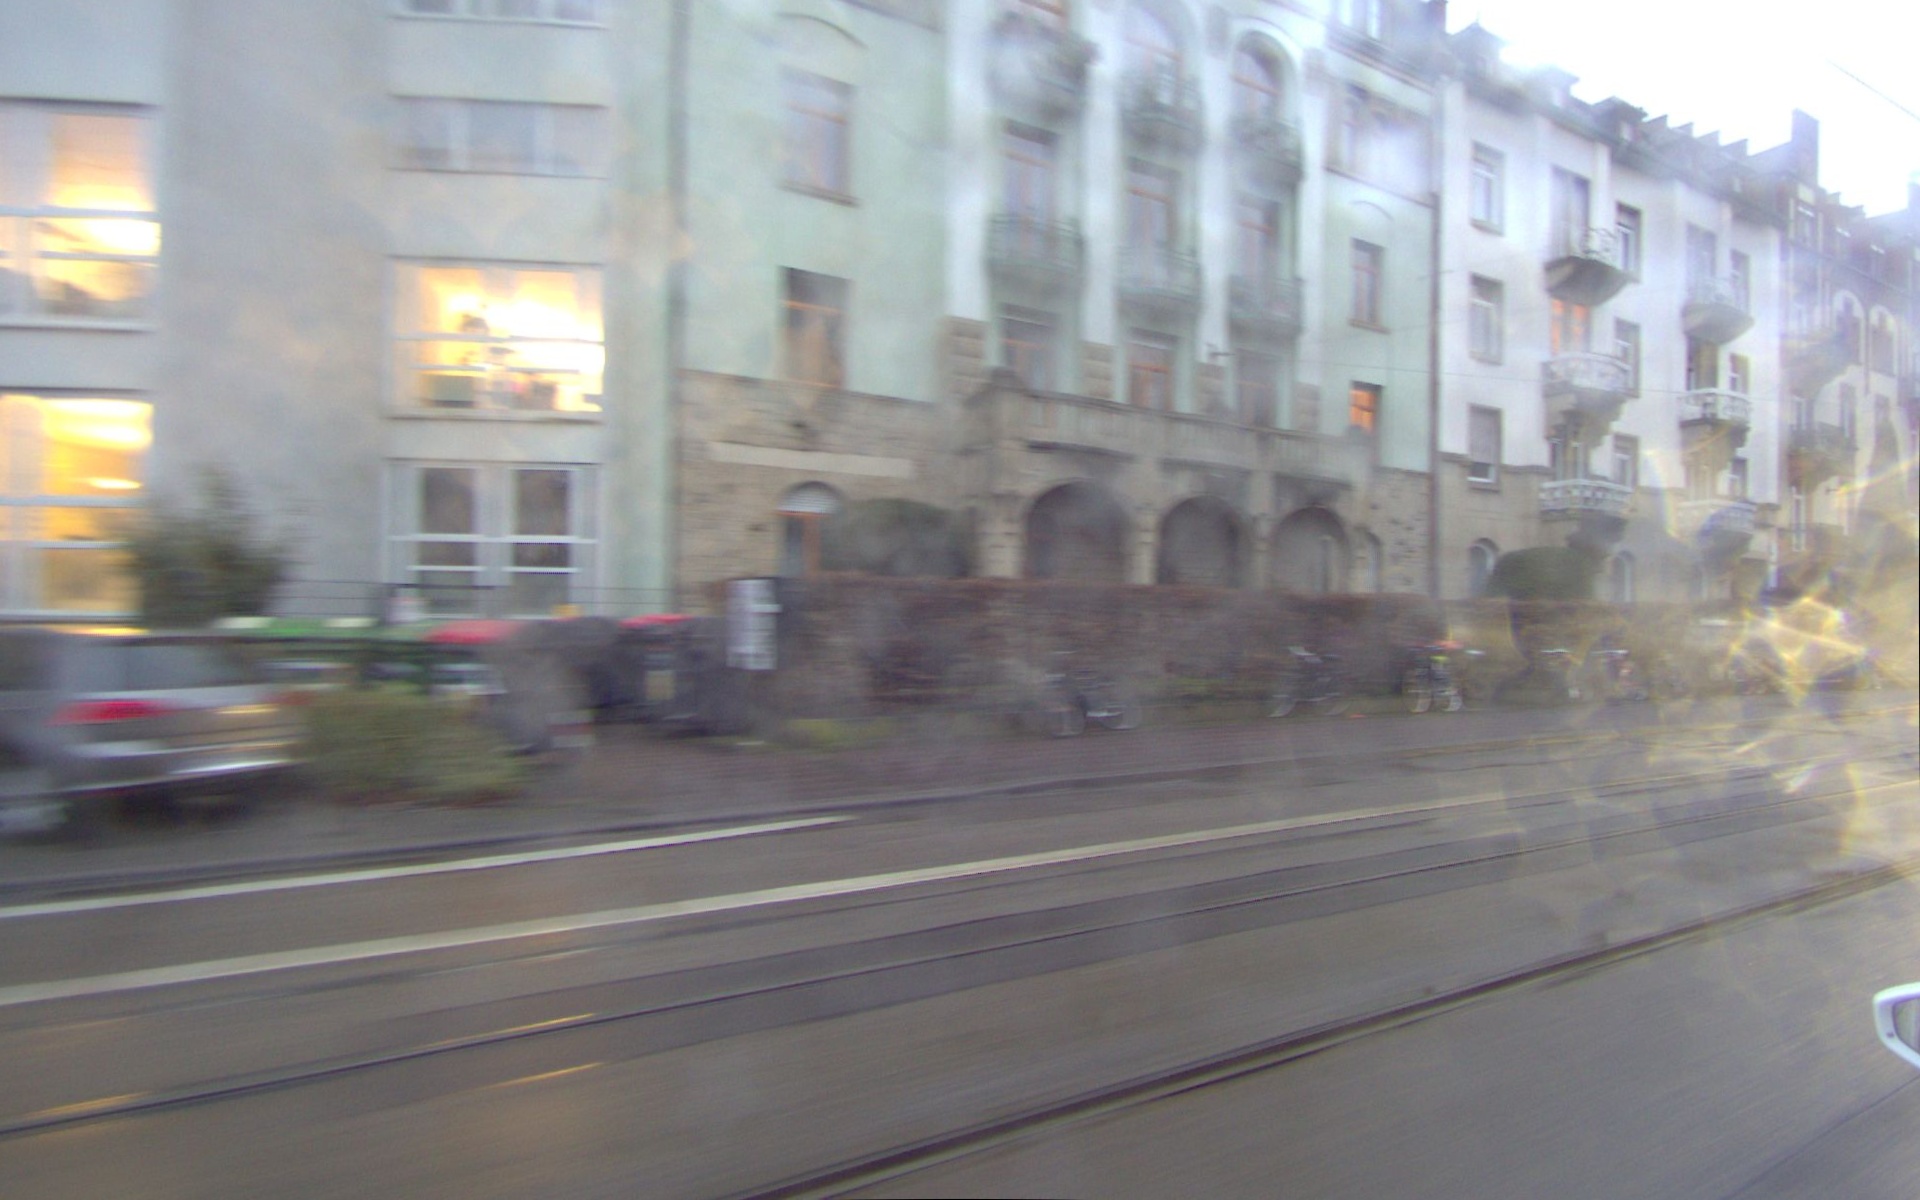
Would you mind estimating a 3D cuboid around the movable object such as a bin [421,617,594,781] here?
[{"bbox_3d":[-4.431,0.907,9.849,1.247,1.469,1.107,-1,-1,38],"label":"movable object such as a bin"}]

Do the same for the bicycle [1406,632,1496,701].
[{"bbox_3d":[9.644,1.291,19.778,0.483,1.279,1.585,6,-4,-25],"label":"bicycle"}]

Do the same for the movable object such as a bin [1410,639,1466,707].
[{"bbox_3d":[8.497,1.281,17.840,0.738,1.152,0.687,1,-2,-44],"label":"movable object such as a bin"}]

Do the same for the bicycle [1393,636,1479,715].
[{"bbox_3d":[7.927,1.221,16.703,1.583,1.228,0.686,1,-2,-40],"label":"bicycle"}]

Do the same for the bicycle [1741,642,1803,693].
[{"bbox_3d":[18.407,1.506,22.763,1.909,1.114,0.484,1,-2,-32],"label":"bicycle"}]

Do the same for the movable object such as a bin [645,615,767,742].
[{"bbox_3d":[-3.184,0.934,12.506,1.306,1.469,1.260,0,-1,-23],"label":"movable object such as a bin"}]

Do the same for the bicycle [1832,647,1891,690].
[{"bbox_3d":[22.706,1.699,25.300,1.785,1.031,0.622,1,-2,-32],"label":"bicycle"}]

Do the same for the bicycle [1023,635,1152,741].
[{"bbox_3d":[1.622,1.071,12.677,1.581,1.228,0.687,1,-1,-36],"label":"bicycle"}]

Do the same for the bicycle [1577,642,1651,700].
[{"bbox_3d":[12.804,1.390,19.652,1.581,1.044,0.688,6,-5,-35],"label":"bicycle"}]

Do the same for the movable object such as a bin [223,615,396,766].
[{"bbox_3d":[-6.785,0.898,10.590,1.306,1.469,1.260,0,-1,-23],"label":"movable object such as a bin"}]

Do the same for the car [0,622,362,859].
[{"bbox_3d":[-6.862,0.900,7.629,3.920,1.447,1.849,-1,-1,18],"label":"car"}]

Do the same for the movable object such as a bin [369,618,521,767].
[{"bbox_3d":[-5.490,0.937,10.715,1.076,1.469,1.107,-1,-1,39],"label":"movable object such as a bin"}]

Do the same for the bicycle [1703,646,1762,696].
[{"bbox_3d":[16.797,1.528,21.831,1.583,1.044,0.686,3,-3,-40],"label":"bicycle"}]

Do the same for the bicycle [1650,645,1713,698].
[{"bbox_3d":[15.037,1.481,20.925,1.583,1.044,0.686,4,-3,-40],"label":"bicycle"}]

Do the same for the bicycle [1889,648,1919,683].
[{"bbox_3d":[31.437,2.127,32.600,0.610,1.095,1.792,1,-2,-36],"label":"bicycle"}]

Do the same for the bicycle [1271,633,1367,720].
[{"bbox_3d":[5.396,1.109,15.067,1.583,1.228,0.624,1,-2,-40],"label":"bicycle"}]

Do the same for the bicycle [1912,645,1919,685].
[{"bbox_3d":[27.332,1.810,28.145,1.792,1.095,0.610,1,-1,-35],"label":"bicycle"}]

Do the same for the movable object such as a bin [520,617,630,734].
[{"bbox_3d":[-5.154,0.964,13.443,1.306,1.469,1.260,0,-1,-23],"label":"movable object such as a bin"}]

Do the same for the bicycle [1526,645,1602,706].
[{"bbox_3d":[11.272,1.411,18.727,1.581,1.044,0.687,6,-5,-37],"label":"bicycle"}]
